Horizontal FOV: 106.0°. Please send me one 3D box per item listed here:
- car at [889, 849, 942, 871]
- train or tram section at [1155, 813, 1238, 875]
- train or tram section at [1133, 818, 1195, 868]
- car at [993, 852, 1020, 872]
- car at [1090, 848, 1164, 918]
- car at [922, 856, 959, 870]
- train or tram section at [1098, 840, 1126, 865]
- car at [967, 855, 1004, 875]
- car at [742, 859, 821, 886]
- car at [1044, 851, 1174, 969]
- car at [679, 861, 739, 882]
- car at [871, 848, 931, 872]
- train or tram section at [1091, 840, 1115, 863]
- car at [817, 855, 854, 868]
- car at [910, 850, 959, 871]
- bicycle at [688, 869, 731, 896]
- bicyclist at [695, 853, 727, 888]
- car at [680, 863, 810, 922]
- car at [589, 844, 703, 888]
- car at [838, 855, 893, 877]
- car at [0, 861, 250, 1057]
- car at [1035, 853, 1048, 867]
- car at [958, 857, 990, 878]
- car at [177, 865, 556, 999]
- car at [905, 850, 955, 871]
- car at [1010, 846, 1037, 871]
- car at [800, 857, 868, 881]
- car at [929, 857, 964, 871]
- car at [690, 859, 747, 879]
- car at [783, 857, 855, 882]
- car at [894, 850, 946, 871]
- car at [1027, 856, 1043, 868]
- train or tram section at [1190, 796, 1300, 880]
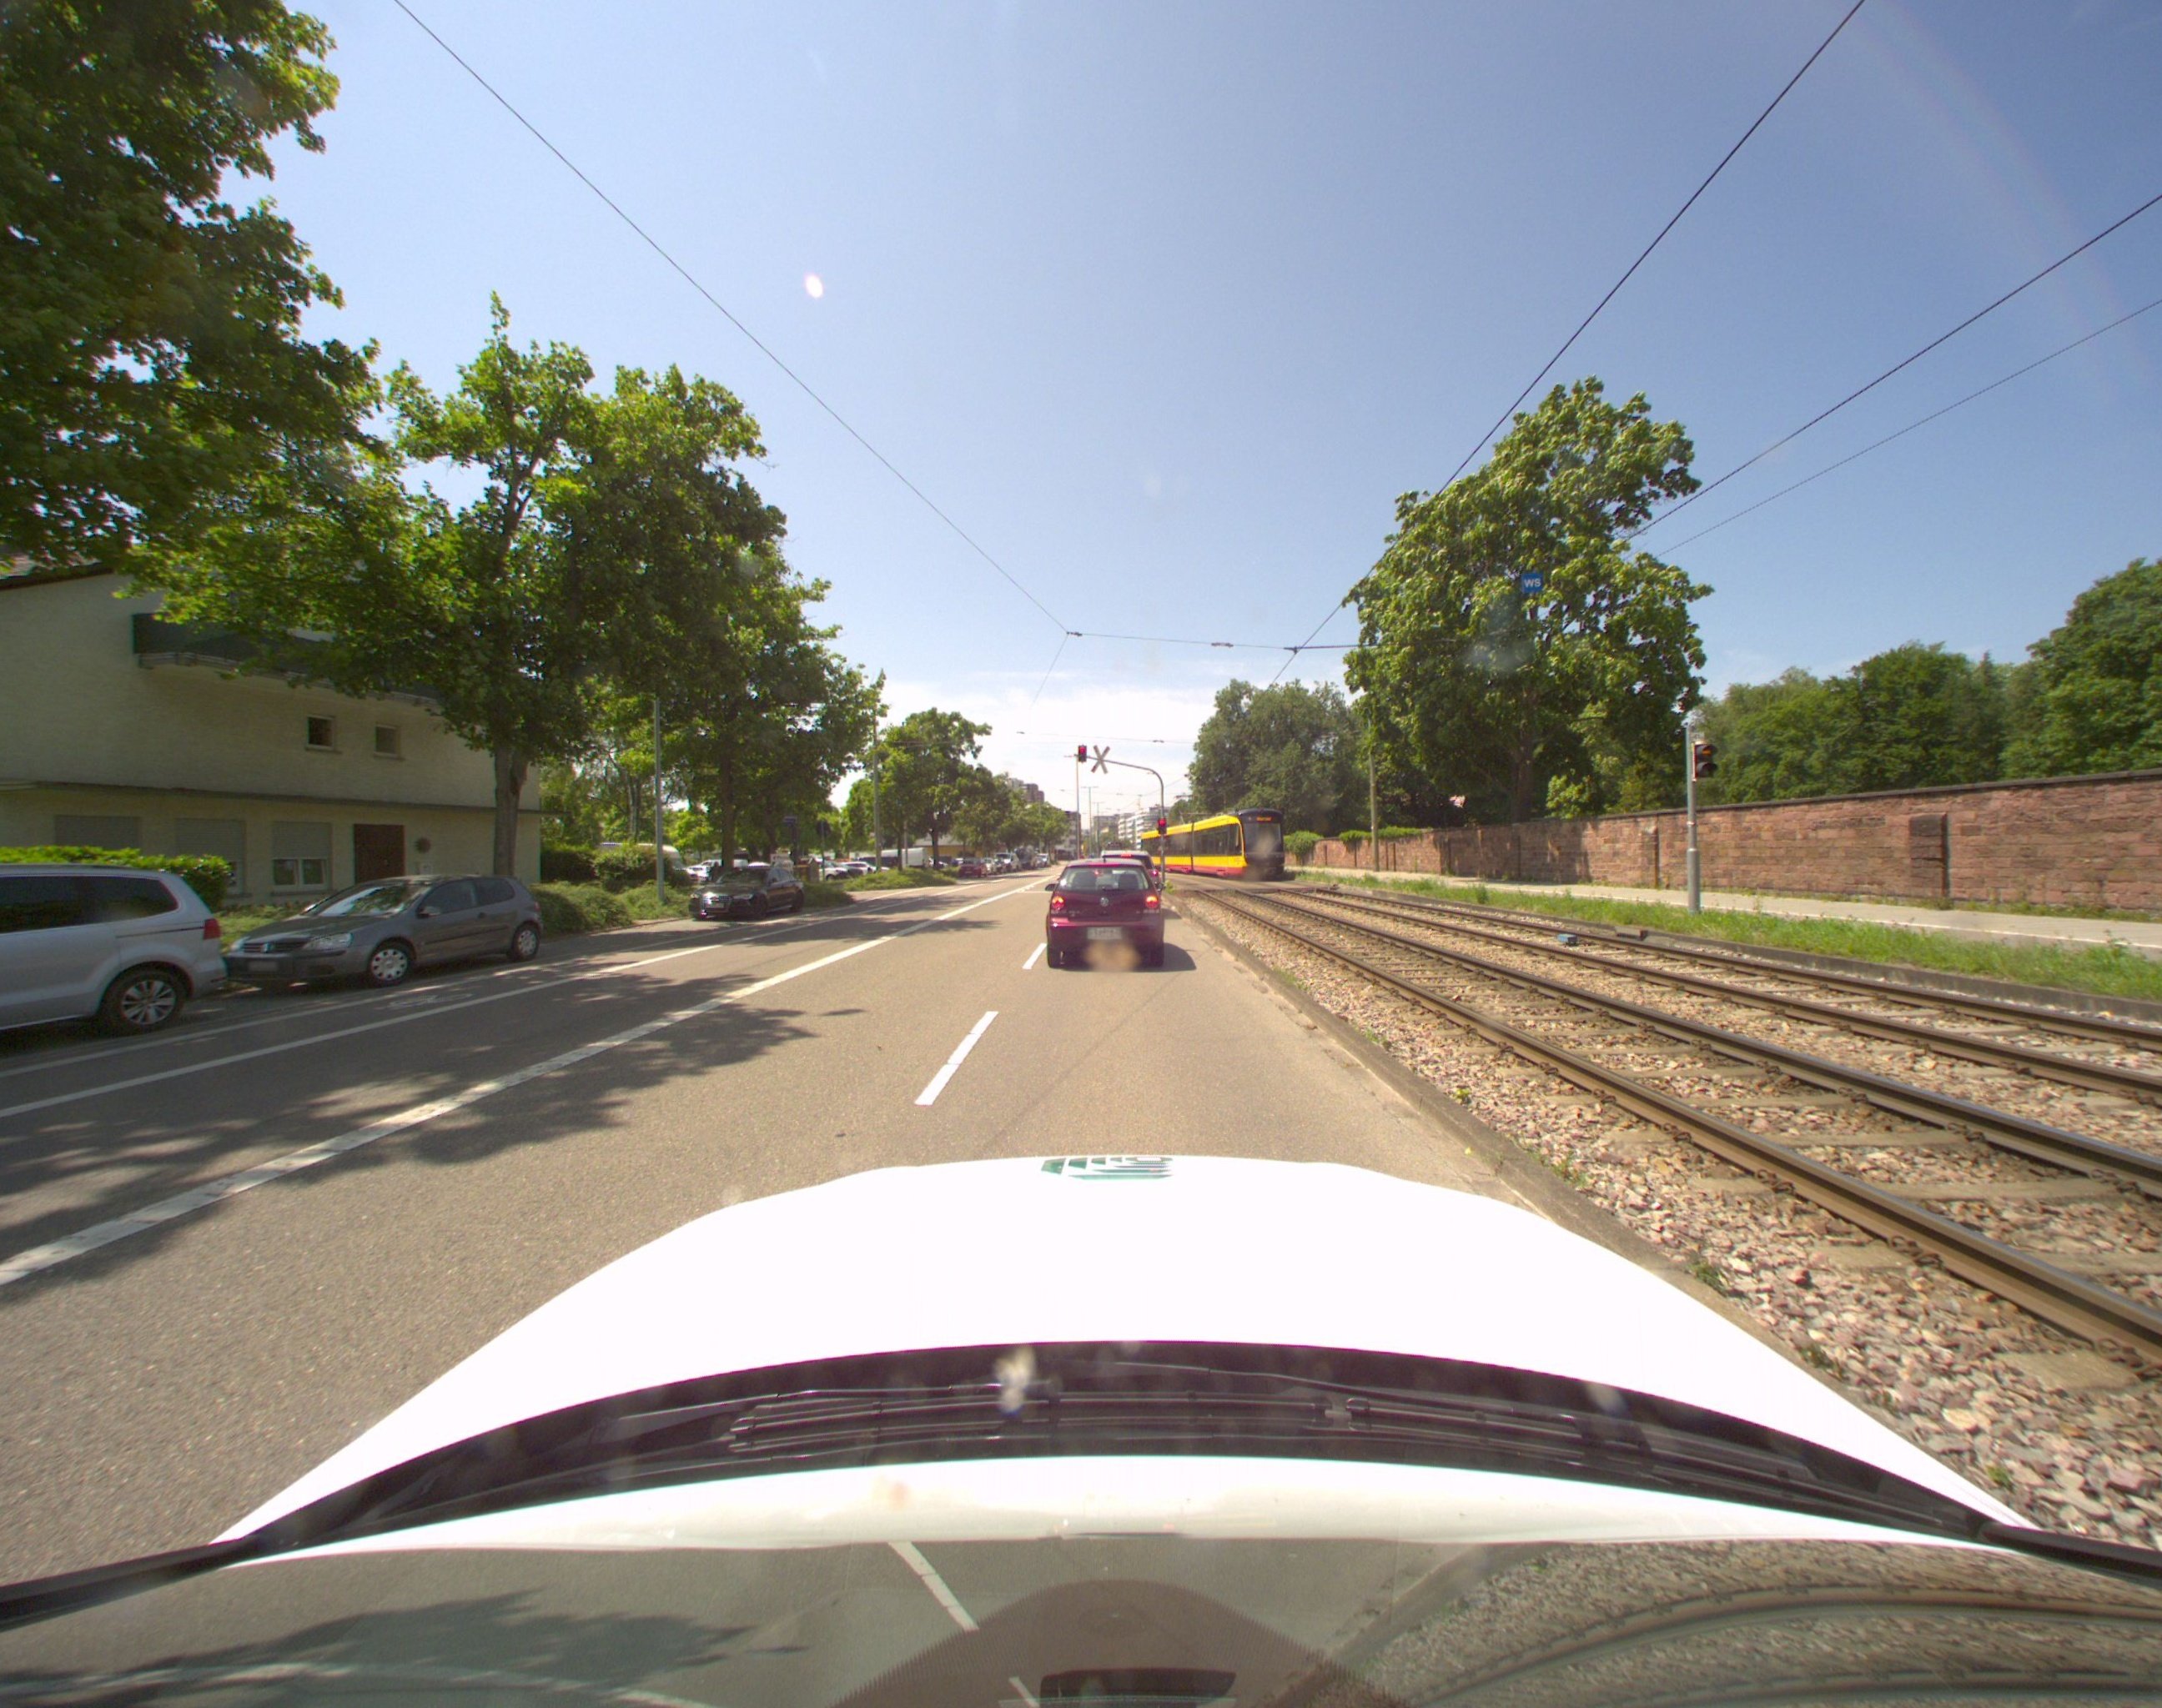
[{"bbox_3d":[-17.511,0.648,86.414,5.076,2.244,2.380,1,-1,3],"label":"car"},{"bbox_3d":[7.713,-0.616,56.786,3.022,3.798,13.070,-1,0,-4],"label":"train or tram section"},{"bbox_3d":[6.826,-0.845,69.506,3.023,3.798,12.740,-1,0,-4],"label":"train or tram section"},{"bbox_3d":[-7.144,0.800,78.252,1.774,1.881,4.792,1,-1,5],"label":"car"},{"bbox_3d":[1.145,0.685,21.452,1.770,1.647,4.001,0,0,1],"label":"car"},{"bbox_3d":[-17.074,1.086,99.070,4.003,1.617,1.818,1,-1,3],"label":"car"},{"bbox_3d":[4.632,-0.256,124.735,2.736,3.609,12.848,1,0,-5],"label":"train or tram section"},{"bbox_3d":[-7.928,0.904,68.024,1.965,1.601,4.566,1,-1,7],"label":"car"},{"bbox_3d":[-19.078,1.161,52.001,4.329,1.585,1.912,-2,0,-1],"label":"car"},{"bbox_3d":[0.407,0.718,12.542,1.666,1.521,4.001,0,0,1],"label":"car"},{"bbox_3d":[-30.126,1.444,66.086,3.982,1.653,1.812,1,-1,-7],"label":"car"},{"bbox_3d":[-17.234,0.592,78.249,5.076,2.244,2.380,1,-1,3],"label":"car"},{"bbox_3d":[3.652,-0.416,136.136,2.736,3.609,10.931,1,0,-5],"label":"train or tram section"},{"bbox_3d":[-31.240,0.985,103.673,4.006,1.617,1.816,1,-1,0],"label":"car"},{"bbox_3d":[-16.984,0.754,94.640,5.076,2.244,2.380,1,-1,3],"label":"car"},{"bbox_3d":[-14.573,1.107,32.000,0.697,1.030,1.831,1,-1,5],"label":"bicycle"},{"bbox_3d":[-14.571,0.649,32.065,0.805,1.374,0.829,1,-1,5],"label":"bicyclist"},{"bbox_3d":[-9.622,1.051,23.731,1.812,1.476,4.450,0,0,1],"label":"car"},{"bbox_3d":[-31.160,0.854,58.555,6.828,2.965,2.364,1,-1,0],"label":"car"},{"bbox_3d":[-17.887,0.993,67.827,3.973,1.746,1.998,-2,0,0],"label":"car"},{"bbox_3d":[-10.301,0.935,6.725,1.866,1.664,4.783,-1,0,2],"label":"car"},{"bbox_3d":[-5.532,0.851,114.566,1.771,1.828,3.995,1,-1,-3],"label":"car"},{"bbox_3d":[-8.045,1.029,61.472,1.655,1.497,4.004,1,-1,4],"label":"car"},{"bbox_3d":[-10.065,0.976,12.025,1.812,1.564,4.182,0,0,1],"label":"car"},{"bbox_3d":[-16.985,0.723,92.063,5.076,2.244,2.380,1,-1,3],"label":"car"},{"bbox_3d":[-6.374,0.482,91.289,2.352,2.692,5.311,1,-1,3],"label":"car"},{"bbox_3d":[-18.130,1.067,59.793,4.319,1.585,1.917,-2,0,8],"label":"car"},{"bbox_3d":[-16.857,1.245,102.144,4.003,1.617,1.818,1,-1,3],"label":"car"},{"bbox_3d":[-30.443,1.274,68.500,3.982,1.653,1.812,1,-1,-7],"label":"car"},{"bbox_3d":[-18.334,1.077,57.084,4.319,1.585,1.917,-2,0,7],"label":"car"},{"bbox_3d":[-17.703,0.684,89.614,5.076,2.244,2.380,1,-1,3],"label":"car"},{"bbox_3d":[-6.119,1.082,108.452,1.606,1.441,4.006,1,-1,6],"label":"car"},{"bbox_3d":[8.395,-0.734,43.819,3.019,3.798,13.084,-1,0,-1],"label":"train or tram section"}]
